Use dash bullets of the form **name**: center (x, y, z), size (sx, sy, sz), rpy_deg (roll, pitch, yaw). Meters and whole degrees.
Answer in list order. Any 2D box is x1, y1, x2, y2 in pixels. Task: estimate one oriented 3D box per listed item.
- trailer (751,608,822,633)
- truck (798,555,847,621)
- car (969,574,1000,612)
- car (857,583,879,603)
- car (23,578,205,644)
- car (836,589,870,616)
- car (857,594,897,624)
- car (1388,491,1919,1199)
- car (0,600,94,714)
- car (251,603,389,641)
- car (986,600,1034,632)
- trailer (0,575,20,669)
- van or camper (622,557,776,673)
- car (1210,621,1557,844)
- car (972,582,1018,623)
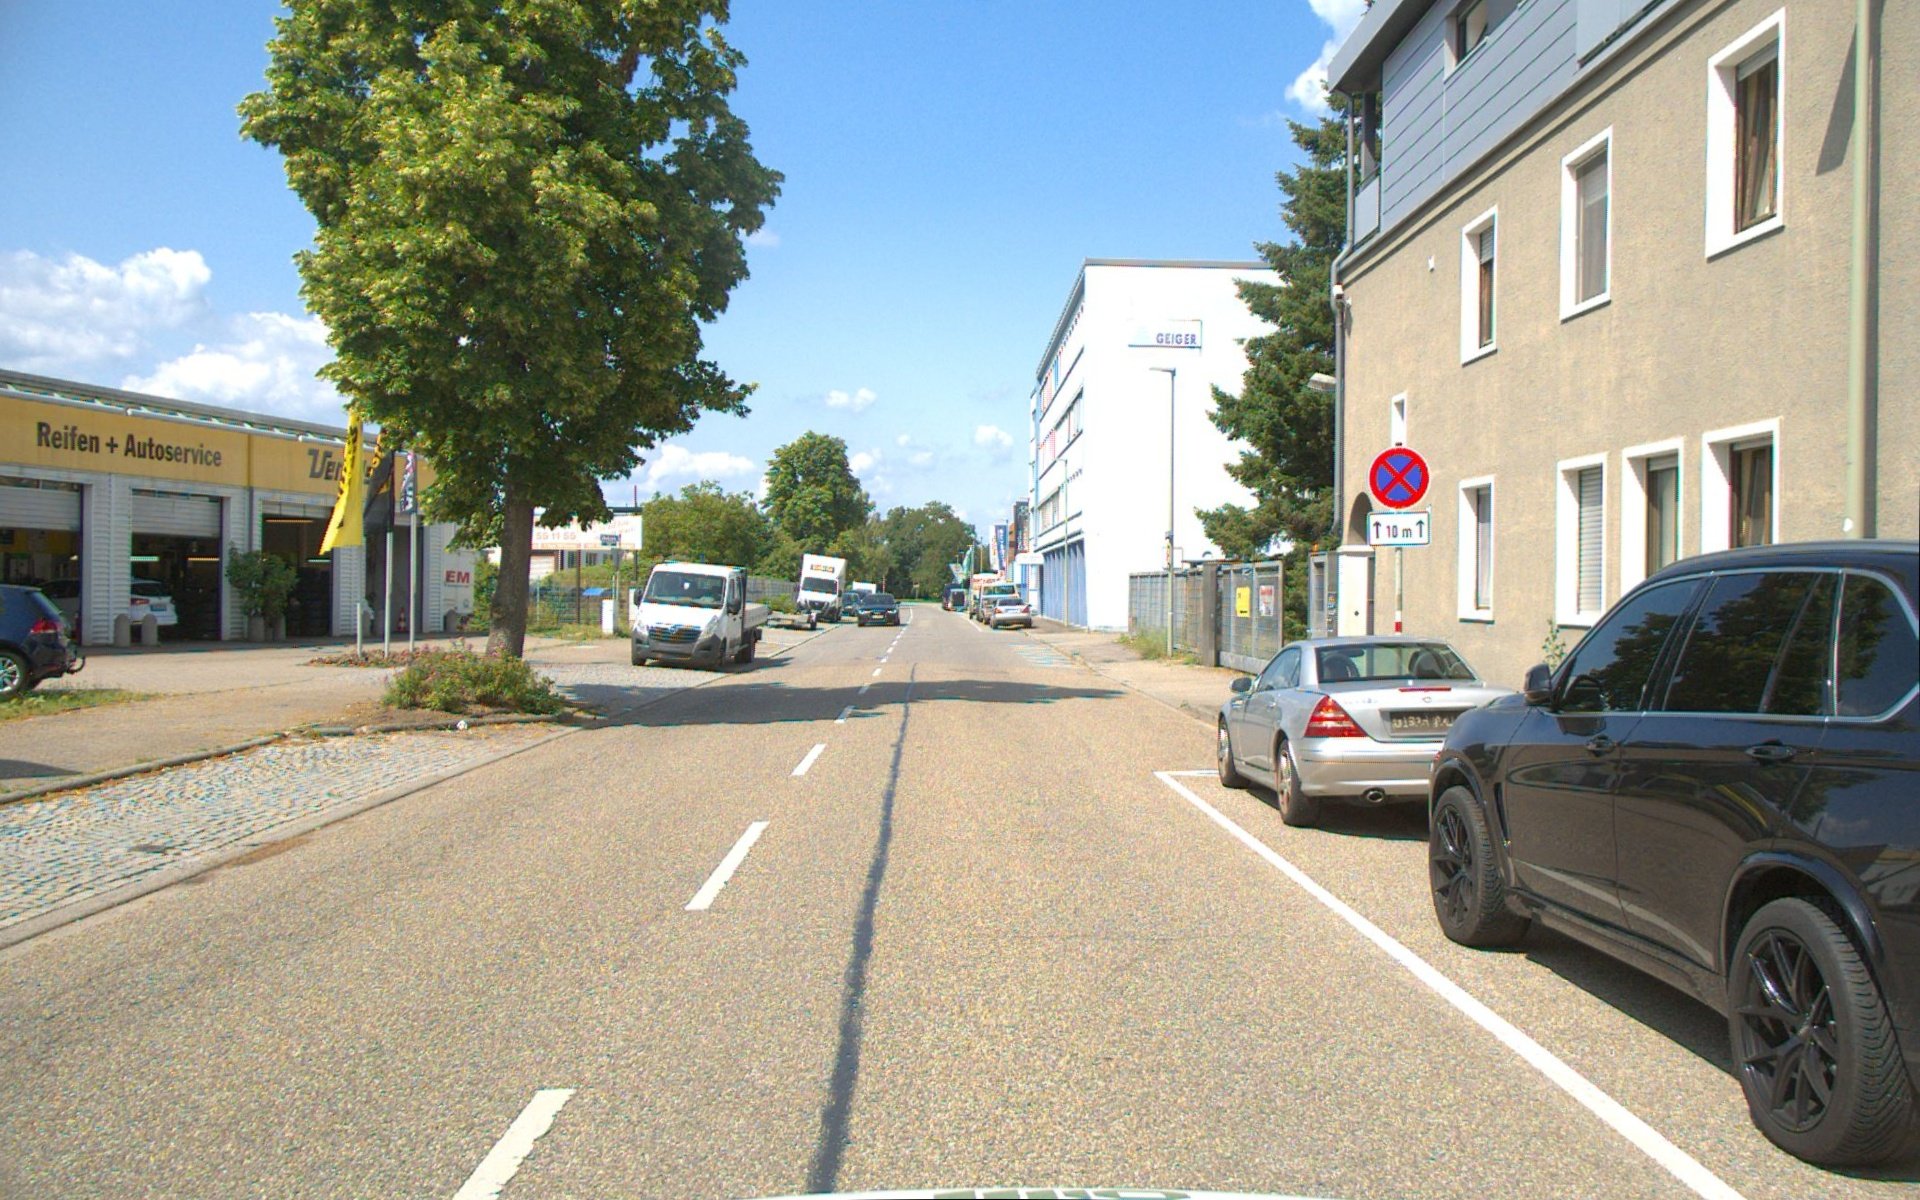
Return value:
- **trailer**: center (-7.140, 0.823, 68.502), size (2.368, 0.828, 5.536), rpy_deg (2, 0, -1)
- **truck**: center (-6.876, -0.603, 83.204), size (1.988, 3.209, 6.498), rpy_deg (0, 0, -1)
- **car**: center (1.406, -0.424, 95.841), size (1.673, 2.126, 3.999), rpy_deg (0, 0, -2)
- **car**: center (-9.009, -0.696, 161.954), size (1.953, 1.847, 3.999), rpy_deg (0, 0, -1)
- **car**: center (-20.181, 0.237, 39.462), size (3.910, 1.489, 1.987), rpy_deg (1, 0, 27)
- **car**: center (-6.799, 0.133, 105.493), size (1.953, 1.713, 3.999), rpy_deg (0, 0, -1)
- **car**: center (-3.750, 0.388, 75.145), size (1.621, 1.348, 4.415), rpy_deg (0, 0, -1)
- **car**: center (3.303, 0.650, 6.165), size (1.921, 1.812, 4.952), rpy_deg (2, 0, -2)
- **car**: center (-13.326, 0.743, 21.152), size (3.733, 1.401, 1.868), rpy_deg (-1, 1, -20)
- **car**: center (-18.643, 0.623, 48.199), size (3.557, 1.055, 1.543), rpy_deg (0, 0, 17)
- **car**: center (2.130, 0.666, 71.466), size (1.889, 1.333, 3.999), rpy_deg (0, 0, -1)
- **trailer**: center (-17.865, 0.394, 28.909), size (1.341, 1.678, 2.207), rpy_deg (0, 0, 14)
- **van or camper**: center (-5.973, 0.293, 38.934), size (2.128, 2.455, 7.699), rpy_deg (0, 0, 2)
- **car**: center (3.060, 0.891, 12.747), size (1.596, 1.377, 3.923), rpy_deg (0, 0, -1)
- **car**: center (1.790, 0.098, 85.328), size (2.171, 2.049, 5.484), rpy_deg (0, 0, -1)
